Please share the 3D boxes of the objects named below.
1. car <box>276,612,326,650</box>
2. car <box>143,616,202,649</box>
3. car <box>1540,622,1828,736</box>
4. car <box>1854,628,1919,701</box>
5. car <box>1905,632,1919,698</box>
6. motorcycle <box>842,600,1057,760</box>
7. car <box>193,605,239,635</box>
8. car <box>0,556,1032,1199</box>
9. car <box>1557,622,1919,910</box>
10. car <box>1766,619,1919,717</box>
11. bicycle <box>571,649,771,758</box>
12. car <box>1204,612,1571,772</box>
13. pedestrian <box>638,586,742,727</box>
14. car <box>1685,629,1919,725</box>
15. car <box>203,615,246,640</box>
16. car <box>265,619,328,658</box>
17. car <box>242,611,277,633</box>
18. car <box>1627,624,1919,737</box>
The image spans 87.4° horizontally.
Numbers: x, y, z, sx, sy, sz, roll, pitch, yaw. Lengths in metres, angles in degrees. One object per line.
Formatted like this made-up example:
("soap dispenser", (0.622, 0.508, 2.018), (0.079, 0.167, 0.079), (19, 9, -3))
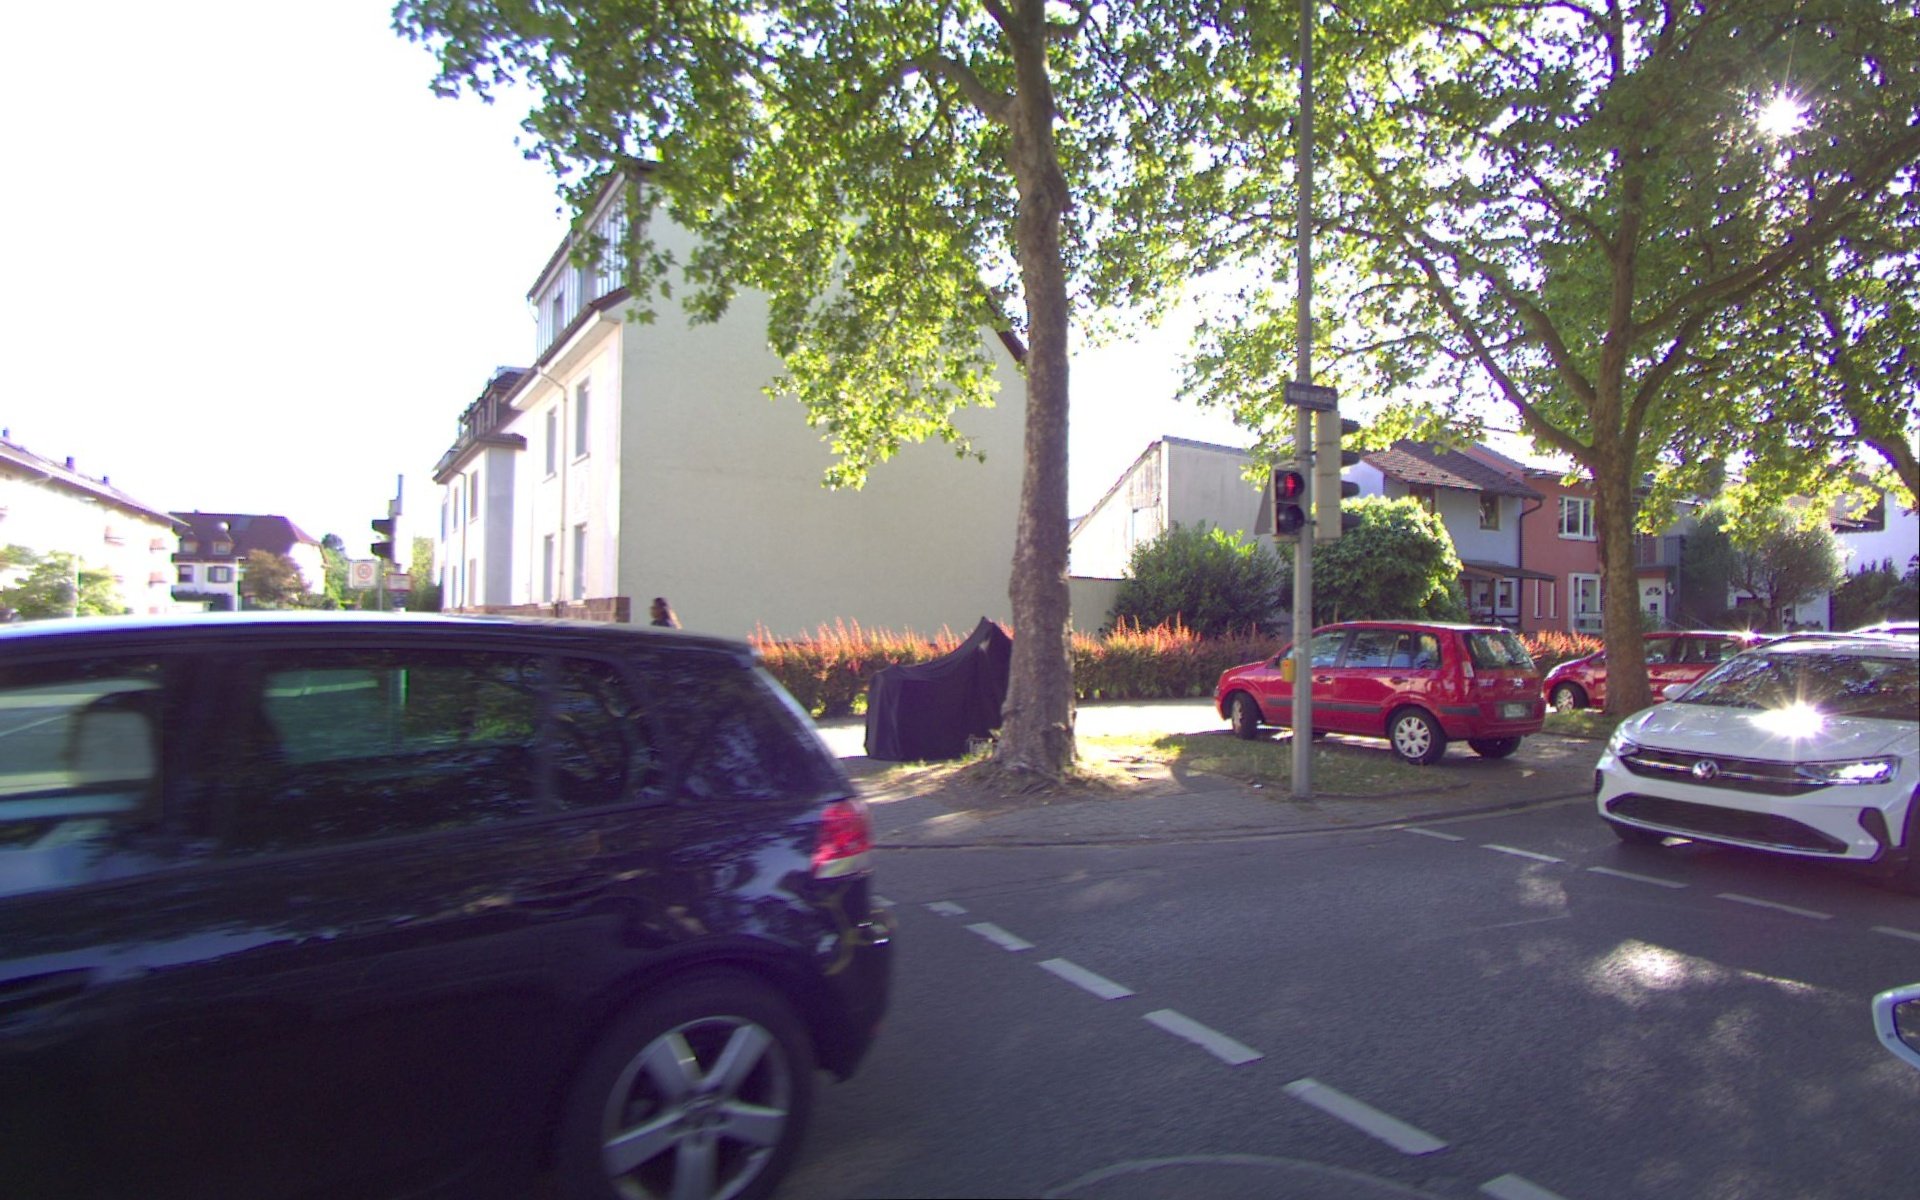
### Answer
("car", (-32.884, 1.523, 50.182), (1.979, 1.792, 3.964), (2, -2, -33))
("car", (-42.462, 1.734, 54.267), (1.977, 1.692, 3.967), (2, -2, -31))
("car", (11.387, 1.169, 15.997), (1.676, 1.499, 3.323), (2, 0, -30))
("car", (22.029, 1.467, 21.859), (1.708, 1.537, 3.491), (2, 0, -33))
("car", (24.244, 1.572, 22.857), (1.760, 1.537, 3.626), (2, -1, -28))
("motorcycle", (-0.087, 0.839, 11.544), (2.368, 1.660, 0.972), (0, 0, -37))
("car", (-45.685, 1.231, 61.737), (1.979, 1.792, 3.964), (2, -2, -33))
("car", (-1.953, 0.685, 2.365), (4.026, 1.483, 1.716), (3, -2, -33))
("car", (6.294, 0.978, 7.161), (4.044, 1.521, 1.709), (2, -1, -29))
("car", (18.004, 1.278, 18.879), (1.809, 1.738, 4.074), (2, -1, -29))
("bicycle", (-3.248, 1.130, 11.437), (2.132, 1.055, 0.505), (-1, 0, -37))
("car", (4.973, 0.969, 12.166), (1.811, 1.555, 3.745), (2, -1, -31))
("pedestrian", (-3.088, 0.635, 11.510), (1.024, 1.552, 0.505), (2, -1, -36))
("car", (15.797, 1.341, 18.379), (1.733, 1.503, 3.742), (2, -1, -29))
("car", (-50.109, 1.861, 68.521), (1.977, 1.692, 3.967), (2, -2, -31))
("car", (-26.787, 1.526, 40.647), (1.979, 1.506, 3.964), (2, -2, -33))
("car", (-56.340, 1.767, 80.855), (1.977, 1.692, 3.967), (2, -2, -31))
("car", (13.719, 1.237, 16.565), (1.854, 1.521, 4.140), (2, -1, -31))
